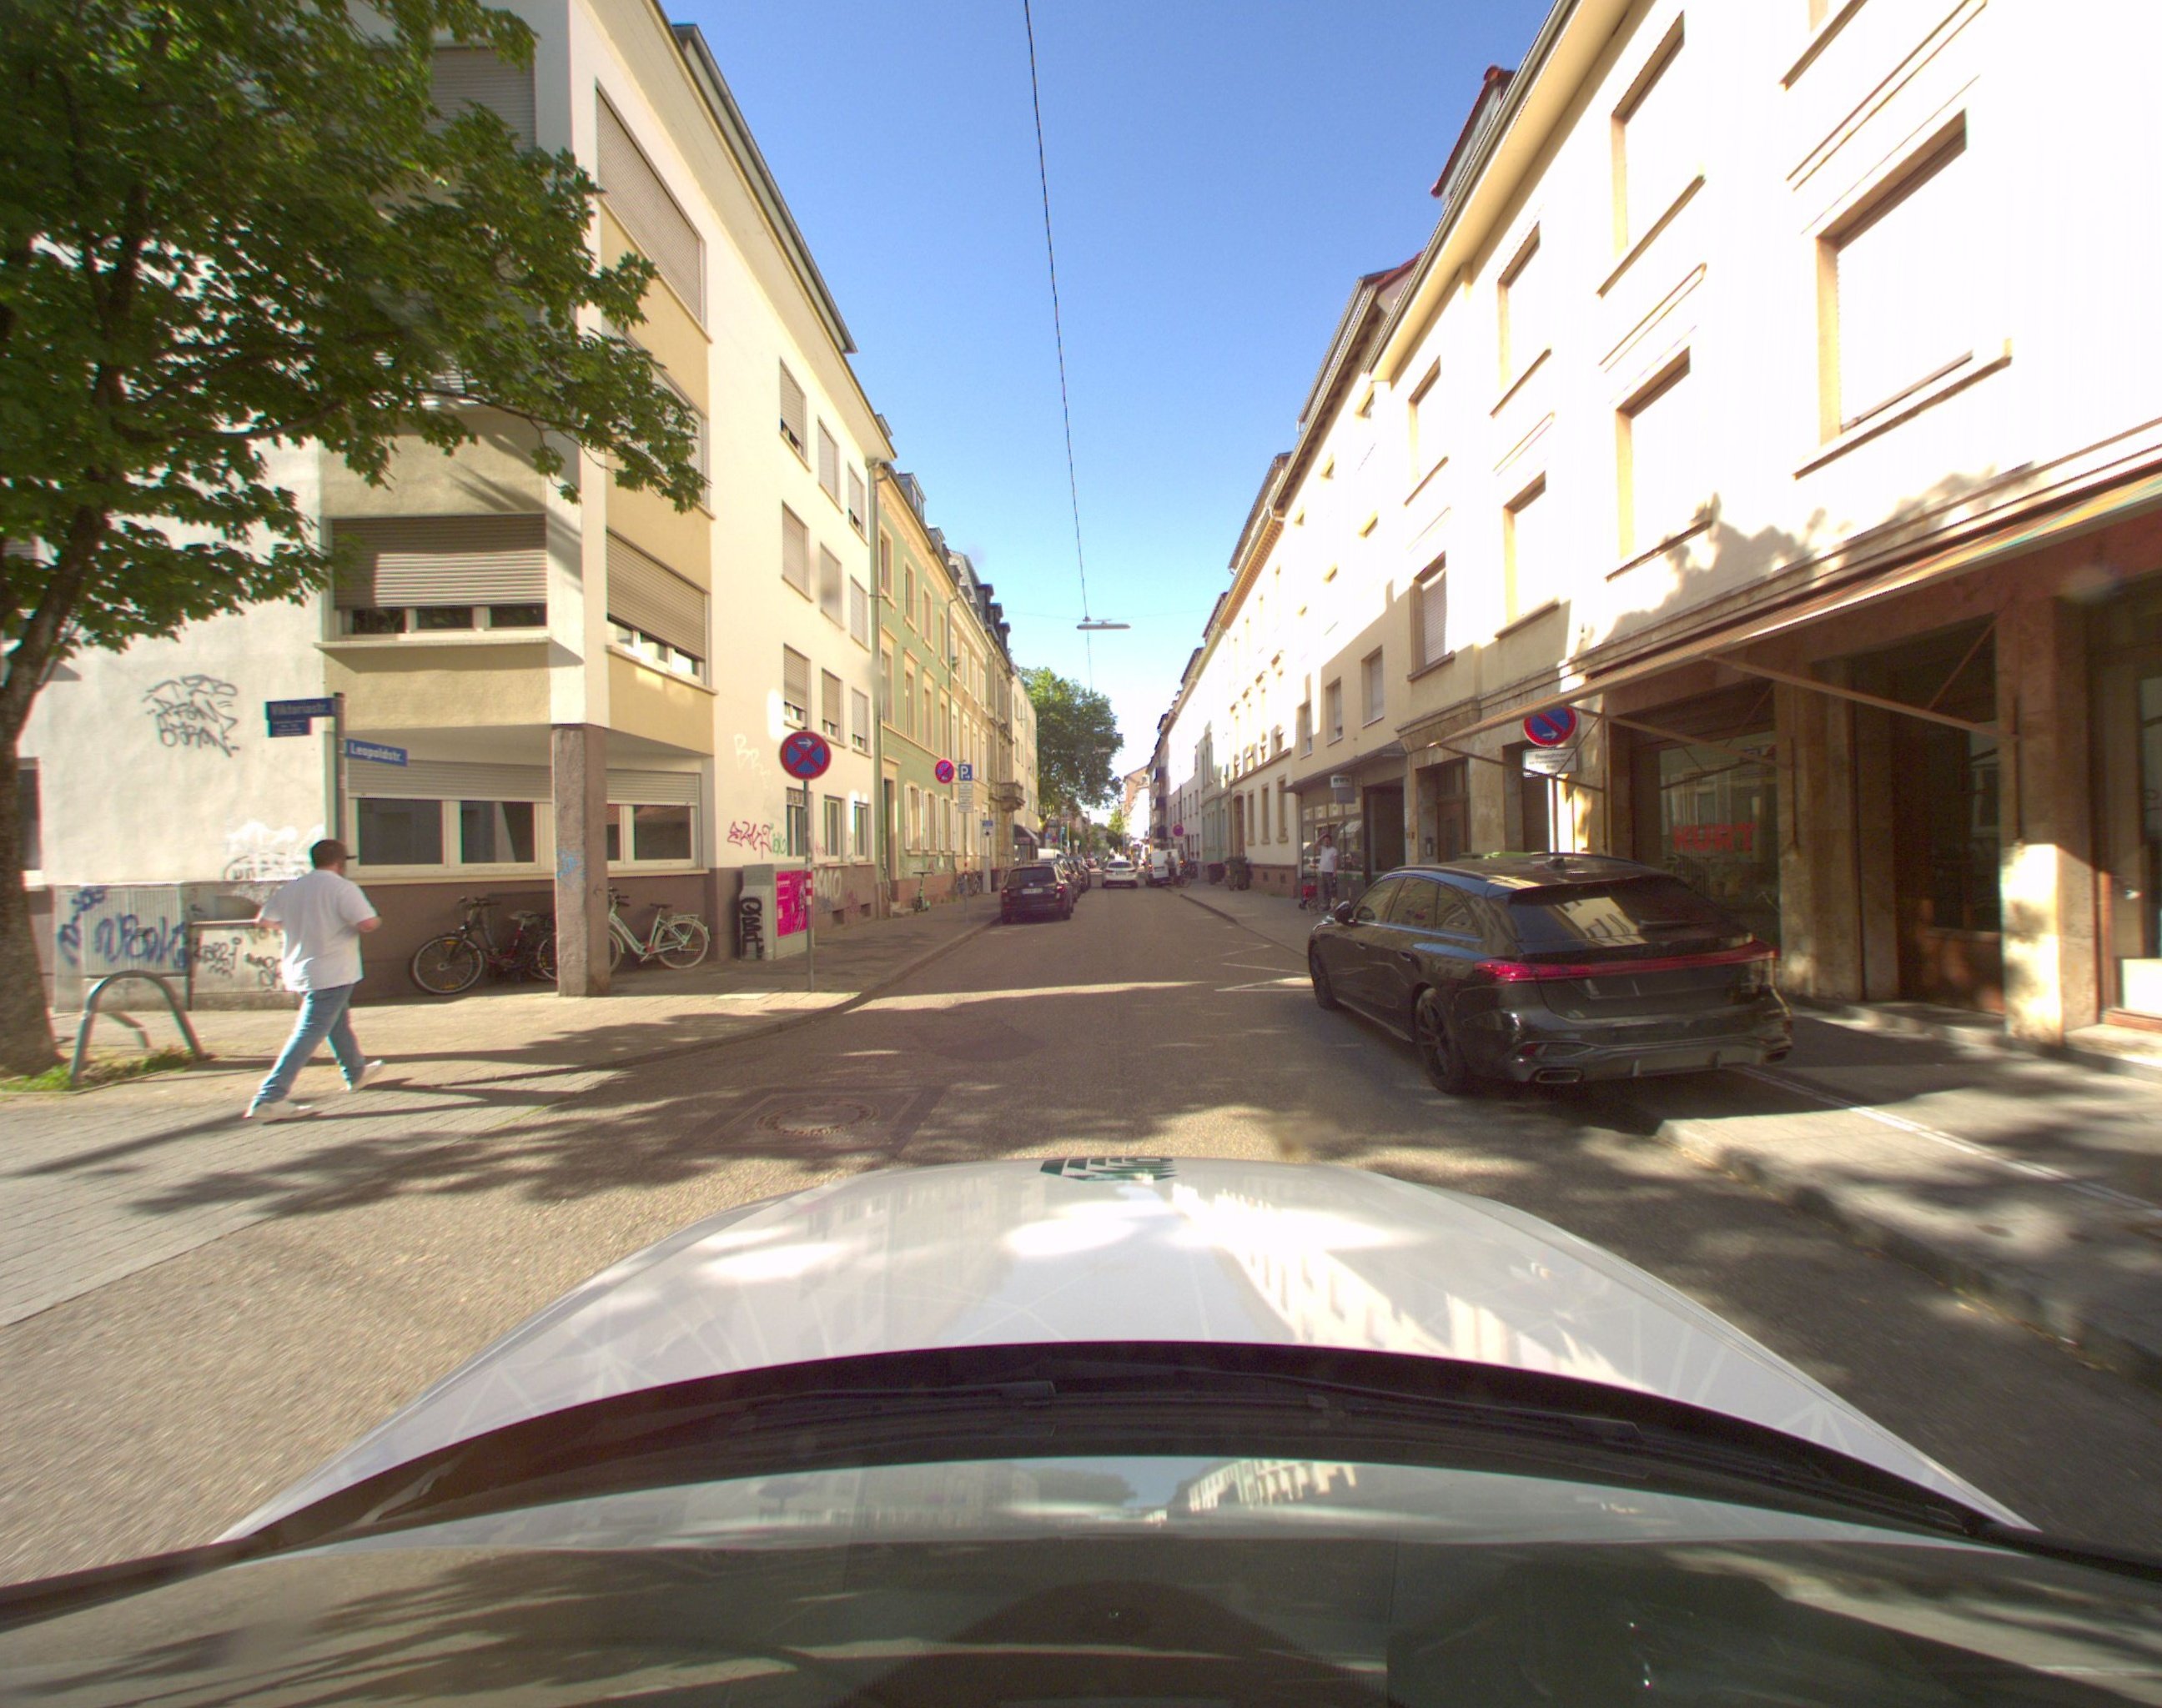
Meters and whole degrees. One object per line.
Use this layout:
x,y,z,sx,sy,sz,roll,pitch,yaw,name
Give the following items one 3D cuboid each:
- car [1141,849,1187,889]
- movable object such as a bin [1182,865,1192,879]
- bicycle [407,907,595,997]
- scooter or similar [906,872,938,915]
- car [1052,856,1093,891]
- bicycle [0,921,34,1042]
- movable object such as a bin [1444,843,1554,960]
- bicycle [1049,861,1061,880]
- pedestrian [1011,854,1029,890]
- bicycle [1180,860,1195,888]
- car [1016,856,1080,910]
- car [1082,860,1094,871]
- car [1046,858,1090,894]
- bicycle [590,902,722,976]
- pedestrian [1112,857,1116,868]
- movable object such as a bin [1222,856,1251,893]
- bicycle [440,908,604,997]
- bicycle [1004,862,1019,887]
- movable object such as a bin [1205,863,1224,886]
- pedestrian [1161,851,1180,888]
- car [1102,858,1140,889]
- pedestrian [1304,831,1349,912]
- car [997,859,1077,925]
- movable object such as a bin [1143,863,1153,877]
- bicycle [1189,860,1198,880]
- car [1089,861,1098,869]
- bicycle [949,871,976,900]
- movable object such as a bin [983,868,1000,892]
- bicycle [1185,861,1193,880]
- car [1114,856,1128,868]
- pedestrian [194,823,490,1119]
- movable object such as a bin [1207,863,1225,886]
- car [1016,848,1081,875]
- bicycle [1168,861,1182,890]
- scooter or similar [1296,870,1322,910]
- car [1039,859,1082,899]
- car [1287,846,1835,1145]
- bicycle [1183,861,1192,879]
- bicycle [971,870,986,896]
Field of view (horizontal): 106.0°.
4.545,0.789,45.167,1.976,1.883,5.601,-5,0,1,car
7.107,1.189,54.523,0.575,0.924,0.608,-4,-1,1,movable object such as a bin
-7.225,1.184,10.241,0.378,0.913,1.875,-2,-1,42,bicycle
-4.612,1.125,23.729,0.452,1.182,1.693,-1,-1,5,scooter or similar
-0.411,1.008,43.933,1.929,1.736,5.144,-2,-1,2,car
-10.316,1.209,6.780,0.480,1.101,2.063,-1,1,1,bicycle
5.570,0.603,10.937,0.743,1.436,1.373,-4,-1,3,movable object such as a bin
-1.891,1.234,59.074,0.462,1.332,1.859,3,-2,10,bicycle
-2.978,0.880,39.829,0.762,1.714,0.883,0,0,1,pedestrian
5.156,0.947,39.510,0.572,1.271,2.202,-3,-1,6,bicycle
-1.031,0.907,27.855,1.737,1.615,4.606,-2,0,2,car
1.061,1.707,124.773,1.763,1.589,3.727,-1,0,1,car
-0.546,0.991,38.414,1.706,1.531,4.370,-2,-1,3,car
-5.894,1.151,11.369,0.426,0.882,1.579,0,0,41,bicycle
6.405,1.659,157.895,0.768,2.118,0.835,-1,-1,2,pedestrian
6.243,0.830,32.745,0.834,1.389,1.297,-4,-3,0,movable object such as a bin
-6.848,1.172,10.049,0.399,0.897,1.595,-2,0,42,bicycle
-3.736,1.101,44.014,0.508,1.277,1.868,-1,-1,3,bicycle
6.563,0.999,40.006,0.809,1.088,0.674,-1,-1,3,movable object such as a bin
4.554,0.778,41.582,0.863,1.836,0.883,-1,-1,0,pedestrian
2.051,0.988,42.747,1.817,1.514,3.824,-1,-1,1,car
5.900,0.414,19.594,0.650,1.860,0.744,-3,0,-20,pedestrian
-1.077,0.944,21.993,1.708,1.488,4.853,-4,-1,1,car
5.372,1.280,65.104,0.729,1.081,0.704,-1,-1,2,movable object such as a bin
7.019,1.010,50.832,0.403,1.206,2.162,-1,-1,5,bicycle
2.463,2.110,156.978,1.566,1.585,3.613,-1,-1,2,car
-4.443,1.162,30.723,0.358,1.028,1.923,-1,-1,11,bicycle
-4.105,1.190,37.399,0.733,1.089,0.682,-1,1,-2,movable object such as a bin
6.941,1.037,52.170,0.435,1.206,2.271,-1,-1,9,bicycle
6.211,1.285,127.896,1.937,1.948,4.076,0,-1,-1,car
-5.076,0.741,5.720,0.907,1.833,1.246,-1,-1,1,pedestrian
6.519,1.006,39.335,0.793,1.096,0.642,-1,-1,3,movable object such as a bin
-3.494,0.821,88.095,6.711,2.555,2.147,2,-1,3,car
4.497,1.004,39.200,0.572,1.321,2.202,-2,0,5,bicycle
5.748,0.889,20.556,0.487,0.944,0.870,-2,0,8,scooter or similar
-0.797,0.983,33.649,1.610,1.554,3.978,-1,0,1,car
3.155,0.772,6.770,1.794,1.579,4.899,0,-1,2,car
6.964,1.067,53.259,0.565,1.153,1.871,-1,-1,6,bicycle
-4.277,1.206,34.071,0.401,1.056,1.835,-1,-1,-1,bicycle
